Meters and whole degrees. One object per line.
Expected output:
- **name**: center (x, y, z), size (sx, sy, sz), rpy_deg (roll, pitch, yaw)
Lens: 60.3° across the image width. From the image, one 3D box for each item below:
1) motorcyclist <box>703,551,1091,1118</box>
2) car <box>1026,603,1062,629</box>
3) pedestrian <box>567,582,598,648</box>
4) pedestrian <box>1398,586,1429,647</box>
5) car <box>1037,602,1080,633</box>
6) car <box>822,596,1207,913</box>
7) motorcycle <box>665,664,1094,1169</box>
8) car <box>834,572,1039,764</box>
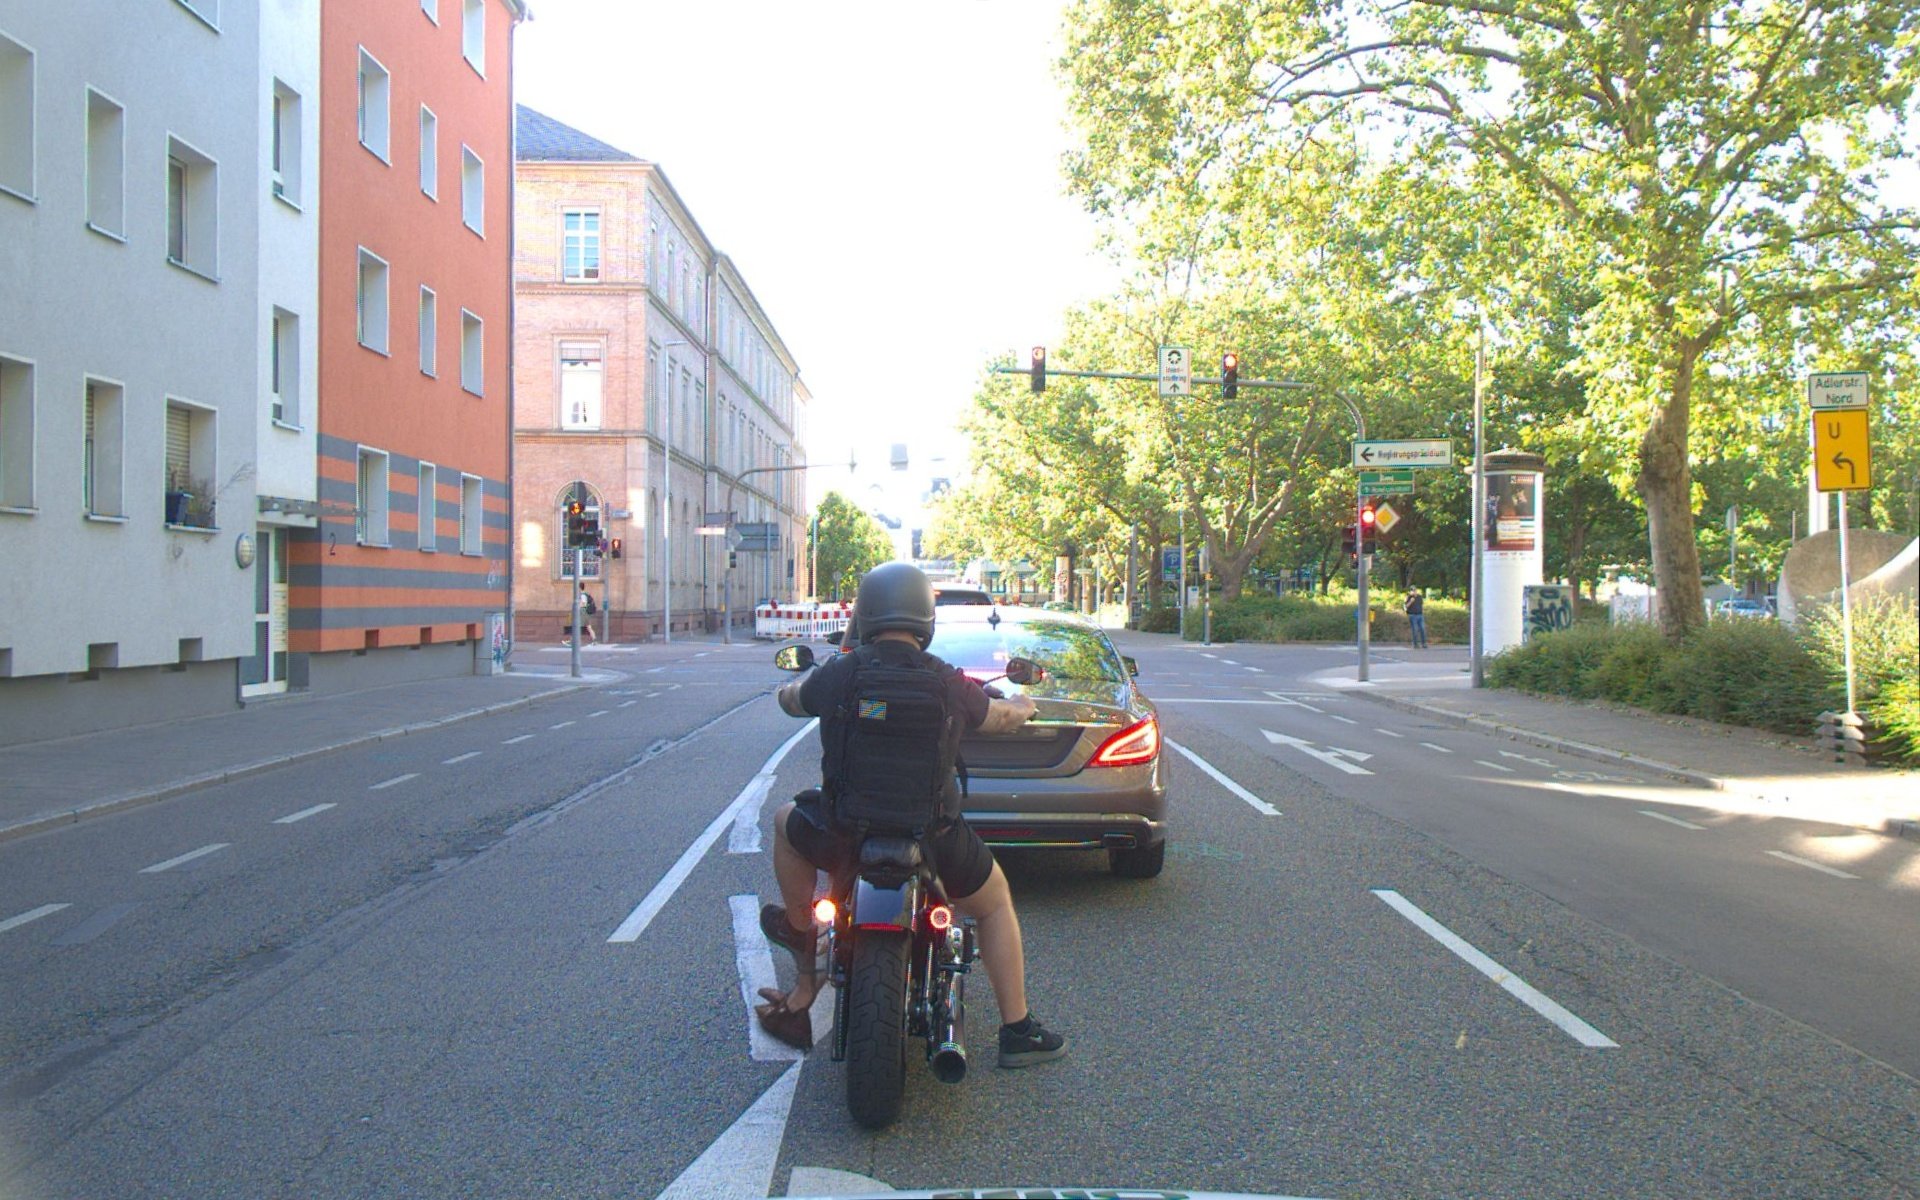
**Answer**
- **motorcyclist**: center (-0.144, 0.665, 5.273), size (1.076, 1.593, 1.072), rpy_deg (1, 0, 5)
- **car**: center (4.418, 0.835, 87.278), size (1.598, 1.281, 3.715), rpy_deg (1, 0, -1)
- **pedestrian**: center (-10.734, 0.435, 47.043), size (0.723, 1.852, 0.643), rpy_deg (1, -1, -1)
- **pedestrian**: center (13.684, 0.486, 49.899), size (0.722, 1.809, 0.728), rpy_deg (1, -1, 29)
- **car**: center (4.317, 0.757, 72.786), size (1.598, 1.281, 3.715), rpy_deg (1, 0, -1)
- **car**: center (0.231, 0.734, 9.666), size (1.785, 1.462, 3.805), rpy_deg (1, 0, -1)
- **motorcycle**: center (-0.131, 0.876, 5.494), size (1.094, 1.228, 2.213), rpy_deg (1, 0, 5)
- **car**: center (-0.242, 0.625, 16.938), size (1.825, 1.707, 3.999), rpy_deg (1, 0, -1)
